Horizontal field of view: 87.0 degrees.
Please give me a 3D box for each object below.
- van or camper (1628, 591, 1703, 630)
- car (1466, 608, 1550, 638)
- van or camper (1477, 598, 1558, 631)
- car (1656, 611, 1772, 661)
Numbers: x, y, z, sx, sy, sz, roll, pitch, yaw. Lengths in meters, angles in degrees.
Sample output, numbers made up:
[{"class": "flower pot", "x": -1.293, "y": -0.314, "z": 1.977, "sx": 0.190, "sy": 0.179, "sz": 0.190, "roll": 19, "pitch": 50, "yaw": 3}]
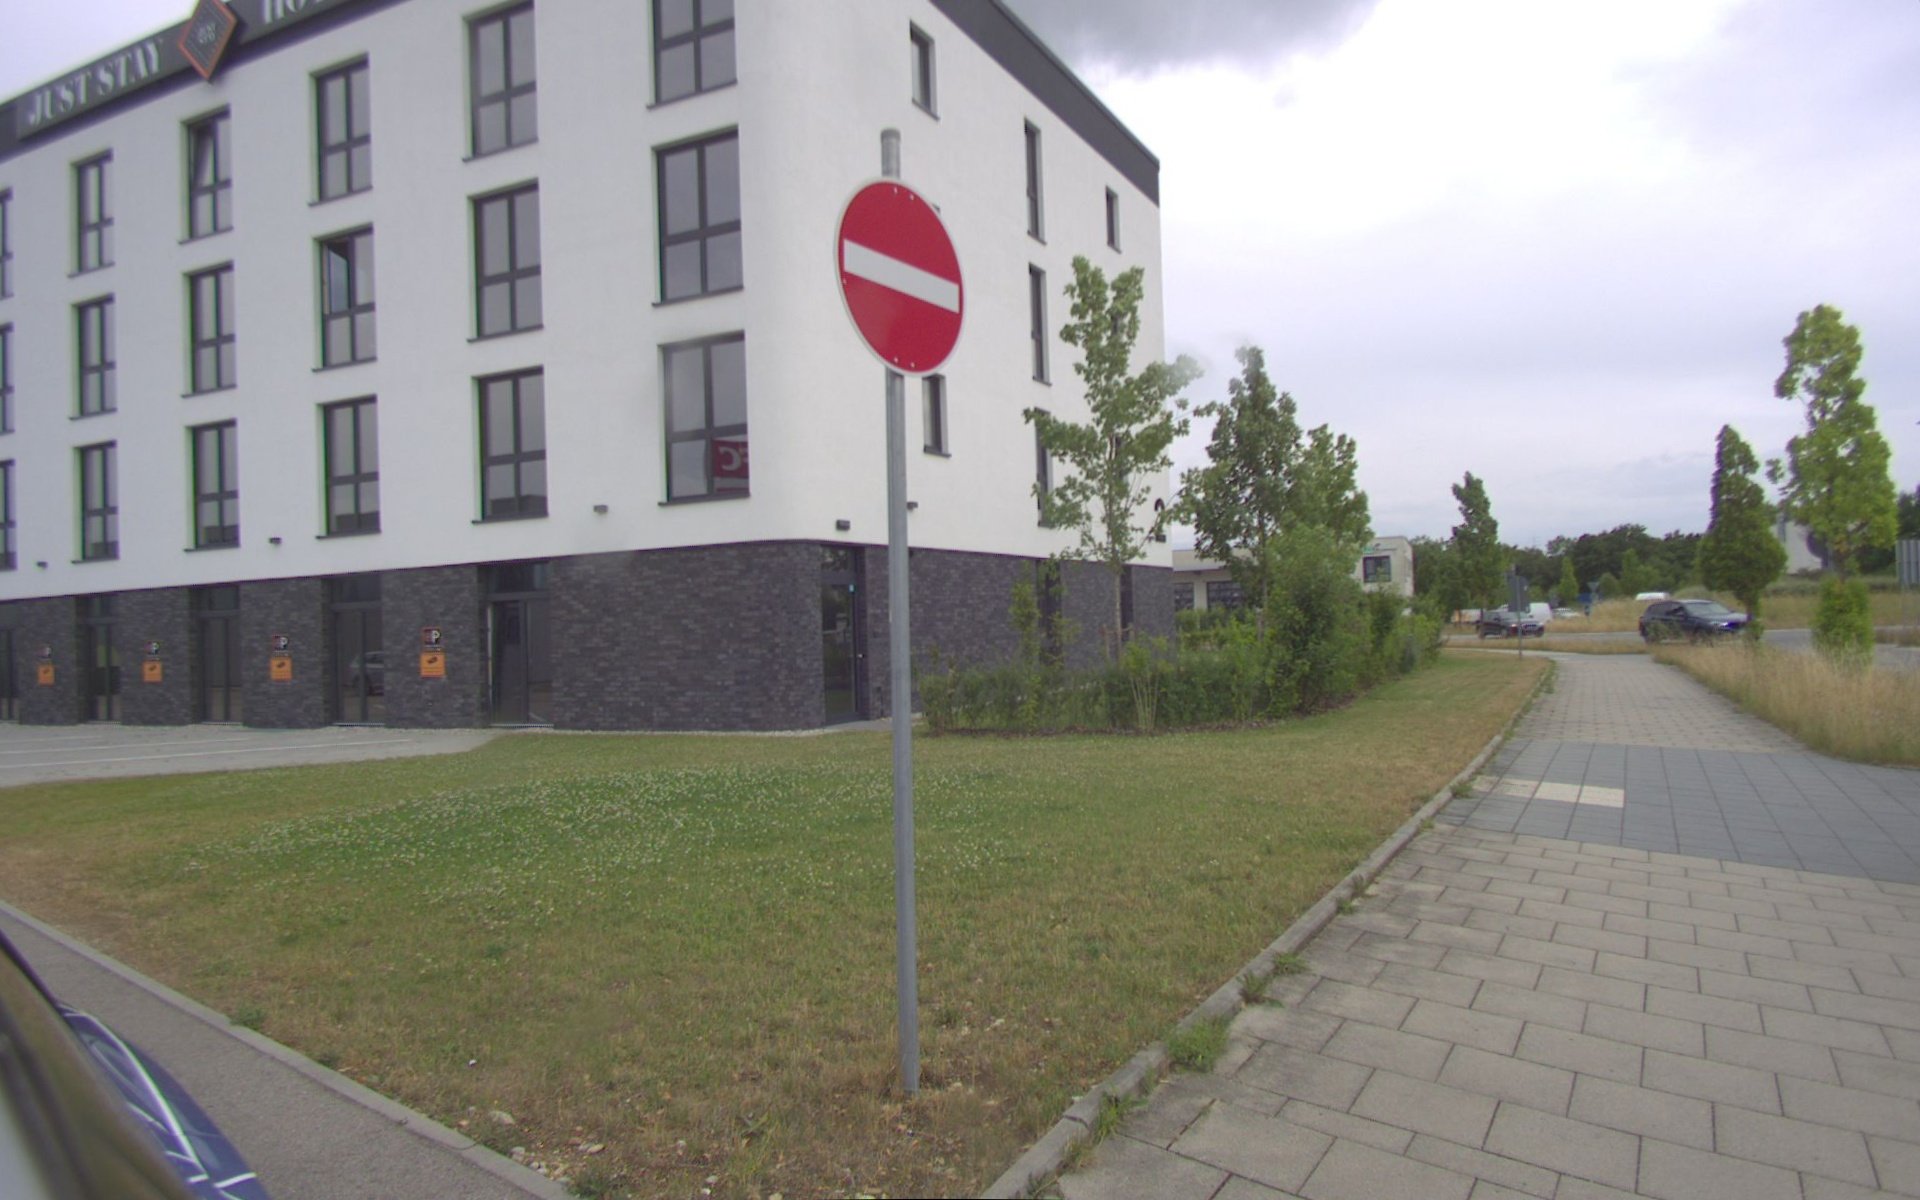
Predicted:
[{"class": "van or camper", "x": 50.913, "y": 0.746, "z": 72.990, "sx": 5.372, "sy": 2.601, "sz": 2.006, "roll": -2, "pitch": -1, "yaw": -26}, {"class": "car", "x": 26.783, "y": 1.168, "z": 49.567, "sx": 1.533, "sy": 1.364, "sz": 3.304, "roll": -2, "pitch": -2, "yaw": -22}, {"class": "van or camper", "x": 36.164, "y": 0.939, "z": 65.654, "sx": 4.757, "sy": 1.905, "sz": 1.990, "roll": -1, "pitch": -2, "yaw": -23}, {"class": "car", "x": 27.398, "y": 1.280, "z": 36.948, "sx": 1.876, "sy": 1.652, "sz": 3.983, "roll": -2, "pitch": -2, "yaw": 13}]
